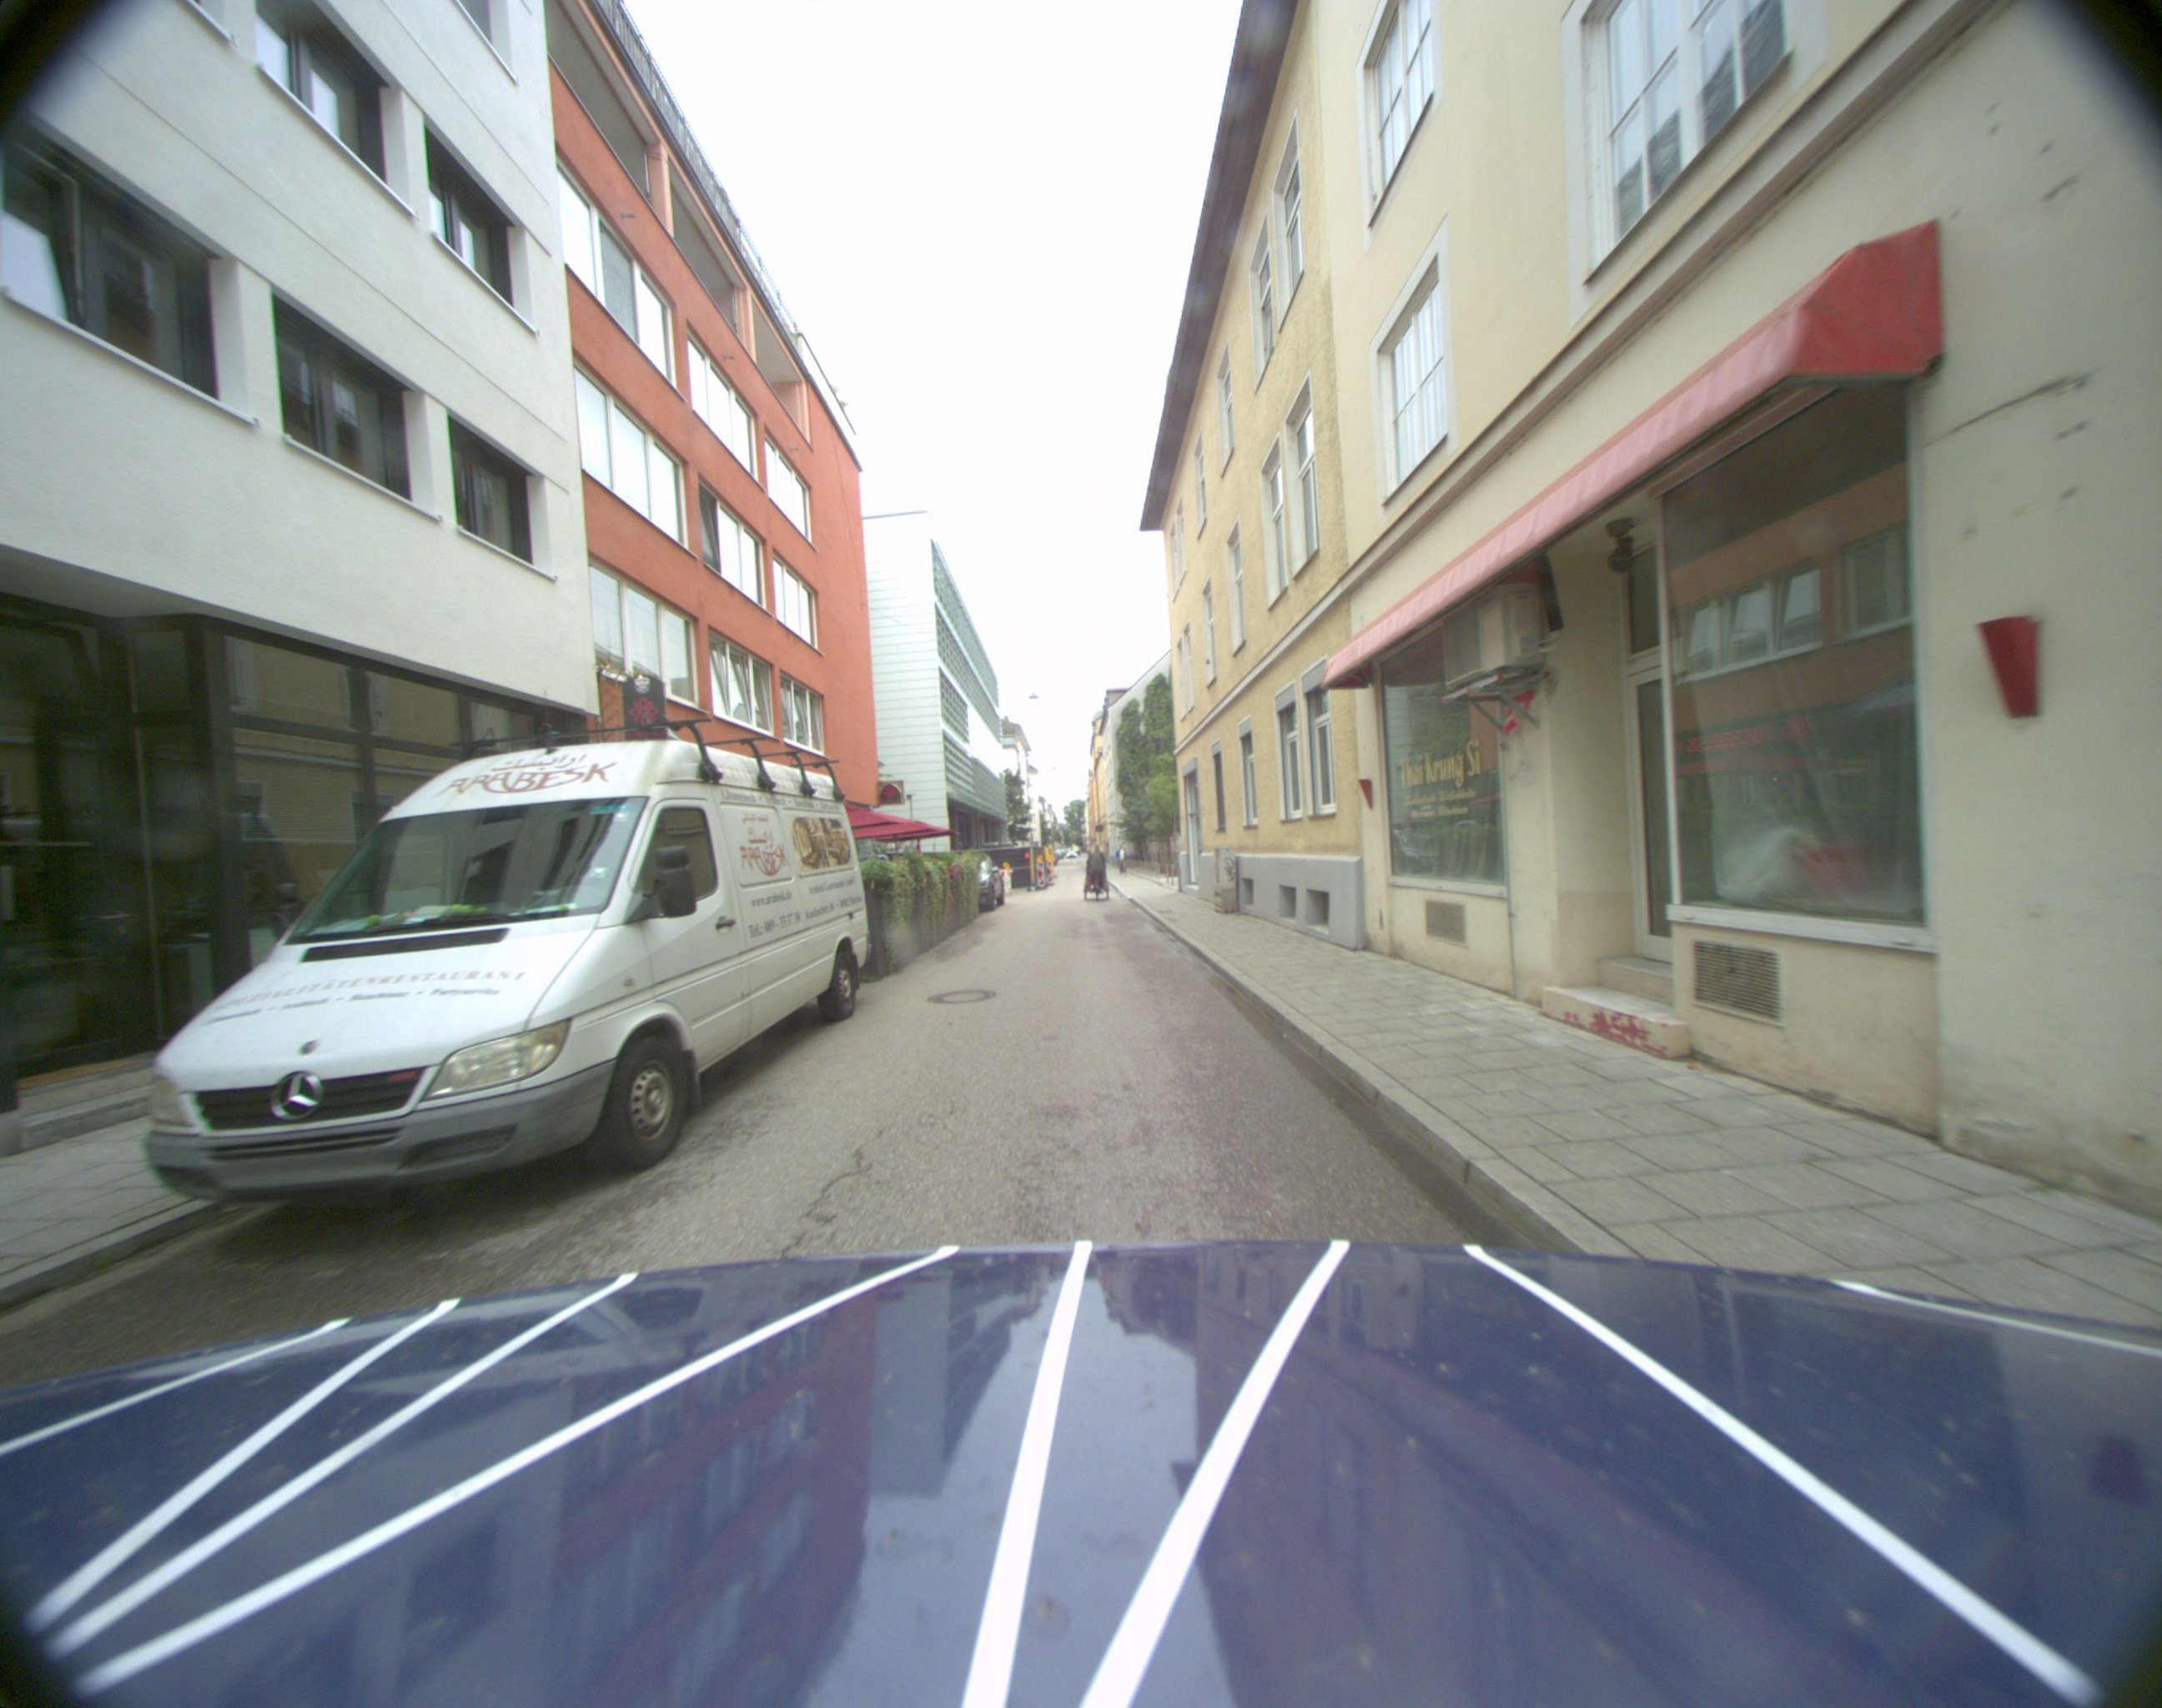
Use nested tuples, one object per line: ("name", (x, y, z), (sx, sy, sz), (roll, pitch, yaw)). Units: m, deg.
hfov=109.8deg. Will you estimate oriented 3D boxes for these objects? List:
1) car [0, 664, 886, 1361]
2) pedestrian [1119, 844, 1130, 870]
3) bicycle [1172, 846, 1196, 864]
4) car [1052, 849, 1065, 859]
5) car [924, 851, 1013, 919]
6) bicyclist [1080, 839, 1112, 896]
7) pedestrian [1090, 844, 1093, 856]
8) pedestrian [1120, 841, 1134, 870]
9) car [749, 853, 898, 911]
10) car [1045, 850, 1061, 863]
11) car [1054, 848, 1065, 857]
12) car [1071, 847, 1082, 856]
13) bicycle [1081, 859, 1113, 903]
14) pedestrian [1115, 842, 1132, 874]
("car", (-3.301, 0.587, 5.871), (1.925, 2.491, 5.996), (-5, 0, -1))
("pedestrian", (2.827, 0.166, 49.500), (0.553, 1.650, 0.997), (-4, 1, -1))
("bicycle", (7.061, 0.072, 52.216), (0.714, 1.202, 1.995), (-5, 1, -18))
("car", (-3.289, 0.005, 111.305), (1.625, 1.259, 4.328), (-4, 1, 0))
("car", (-3.277, 0.832, 23.022), (1.828, 1.700, 4.389), (-5, 1, 1))
("bicyclist", (0.464, 0.408, 24.016), (0.929, 1.711, 1.099), (-2, 1, 0))
("pedestrian", (1.660, -0.646, 119.526), (0.493, 1.814, 0.552), (-3, 1, -1))
("pedestrian", (3.073, 0.094, 51.158), (0.777, 1.826, 0.991), (-4, 1, -1))
("car", (-8.880, 0.941, 26.478), (4.473, 1.710, 1.840), (-3, 1, 0))
("car", (-3.450, 0.289, 94.347), (1.809, 1.390, 3.999), (-4, 1, -1))
("car", (-3.732, -0.249, 133.878), (1.793, 1.550, 3.999), (-4, 1, -1))
("car", (-0.797, -0.434, 146.244), (1.999, 1.583, 4.374), (-4, 1, -1))
("bicycle", (0.486, 0.836, 24.640), (0.934, 1.250, 2.413), (-2, 1, 0))
("pedestrian", (2.530, 0.225, 45.114), (0.861, 1.834, 0.974), (-4, 1, 1))
